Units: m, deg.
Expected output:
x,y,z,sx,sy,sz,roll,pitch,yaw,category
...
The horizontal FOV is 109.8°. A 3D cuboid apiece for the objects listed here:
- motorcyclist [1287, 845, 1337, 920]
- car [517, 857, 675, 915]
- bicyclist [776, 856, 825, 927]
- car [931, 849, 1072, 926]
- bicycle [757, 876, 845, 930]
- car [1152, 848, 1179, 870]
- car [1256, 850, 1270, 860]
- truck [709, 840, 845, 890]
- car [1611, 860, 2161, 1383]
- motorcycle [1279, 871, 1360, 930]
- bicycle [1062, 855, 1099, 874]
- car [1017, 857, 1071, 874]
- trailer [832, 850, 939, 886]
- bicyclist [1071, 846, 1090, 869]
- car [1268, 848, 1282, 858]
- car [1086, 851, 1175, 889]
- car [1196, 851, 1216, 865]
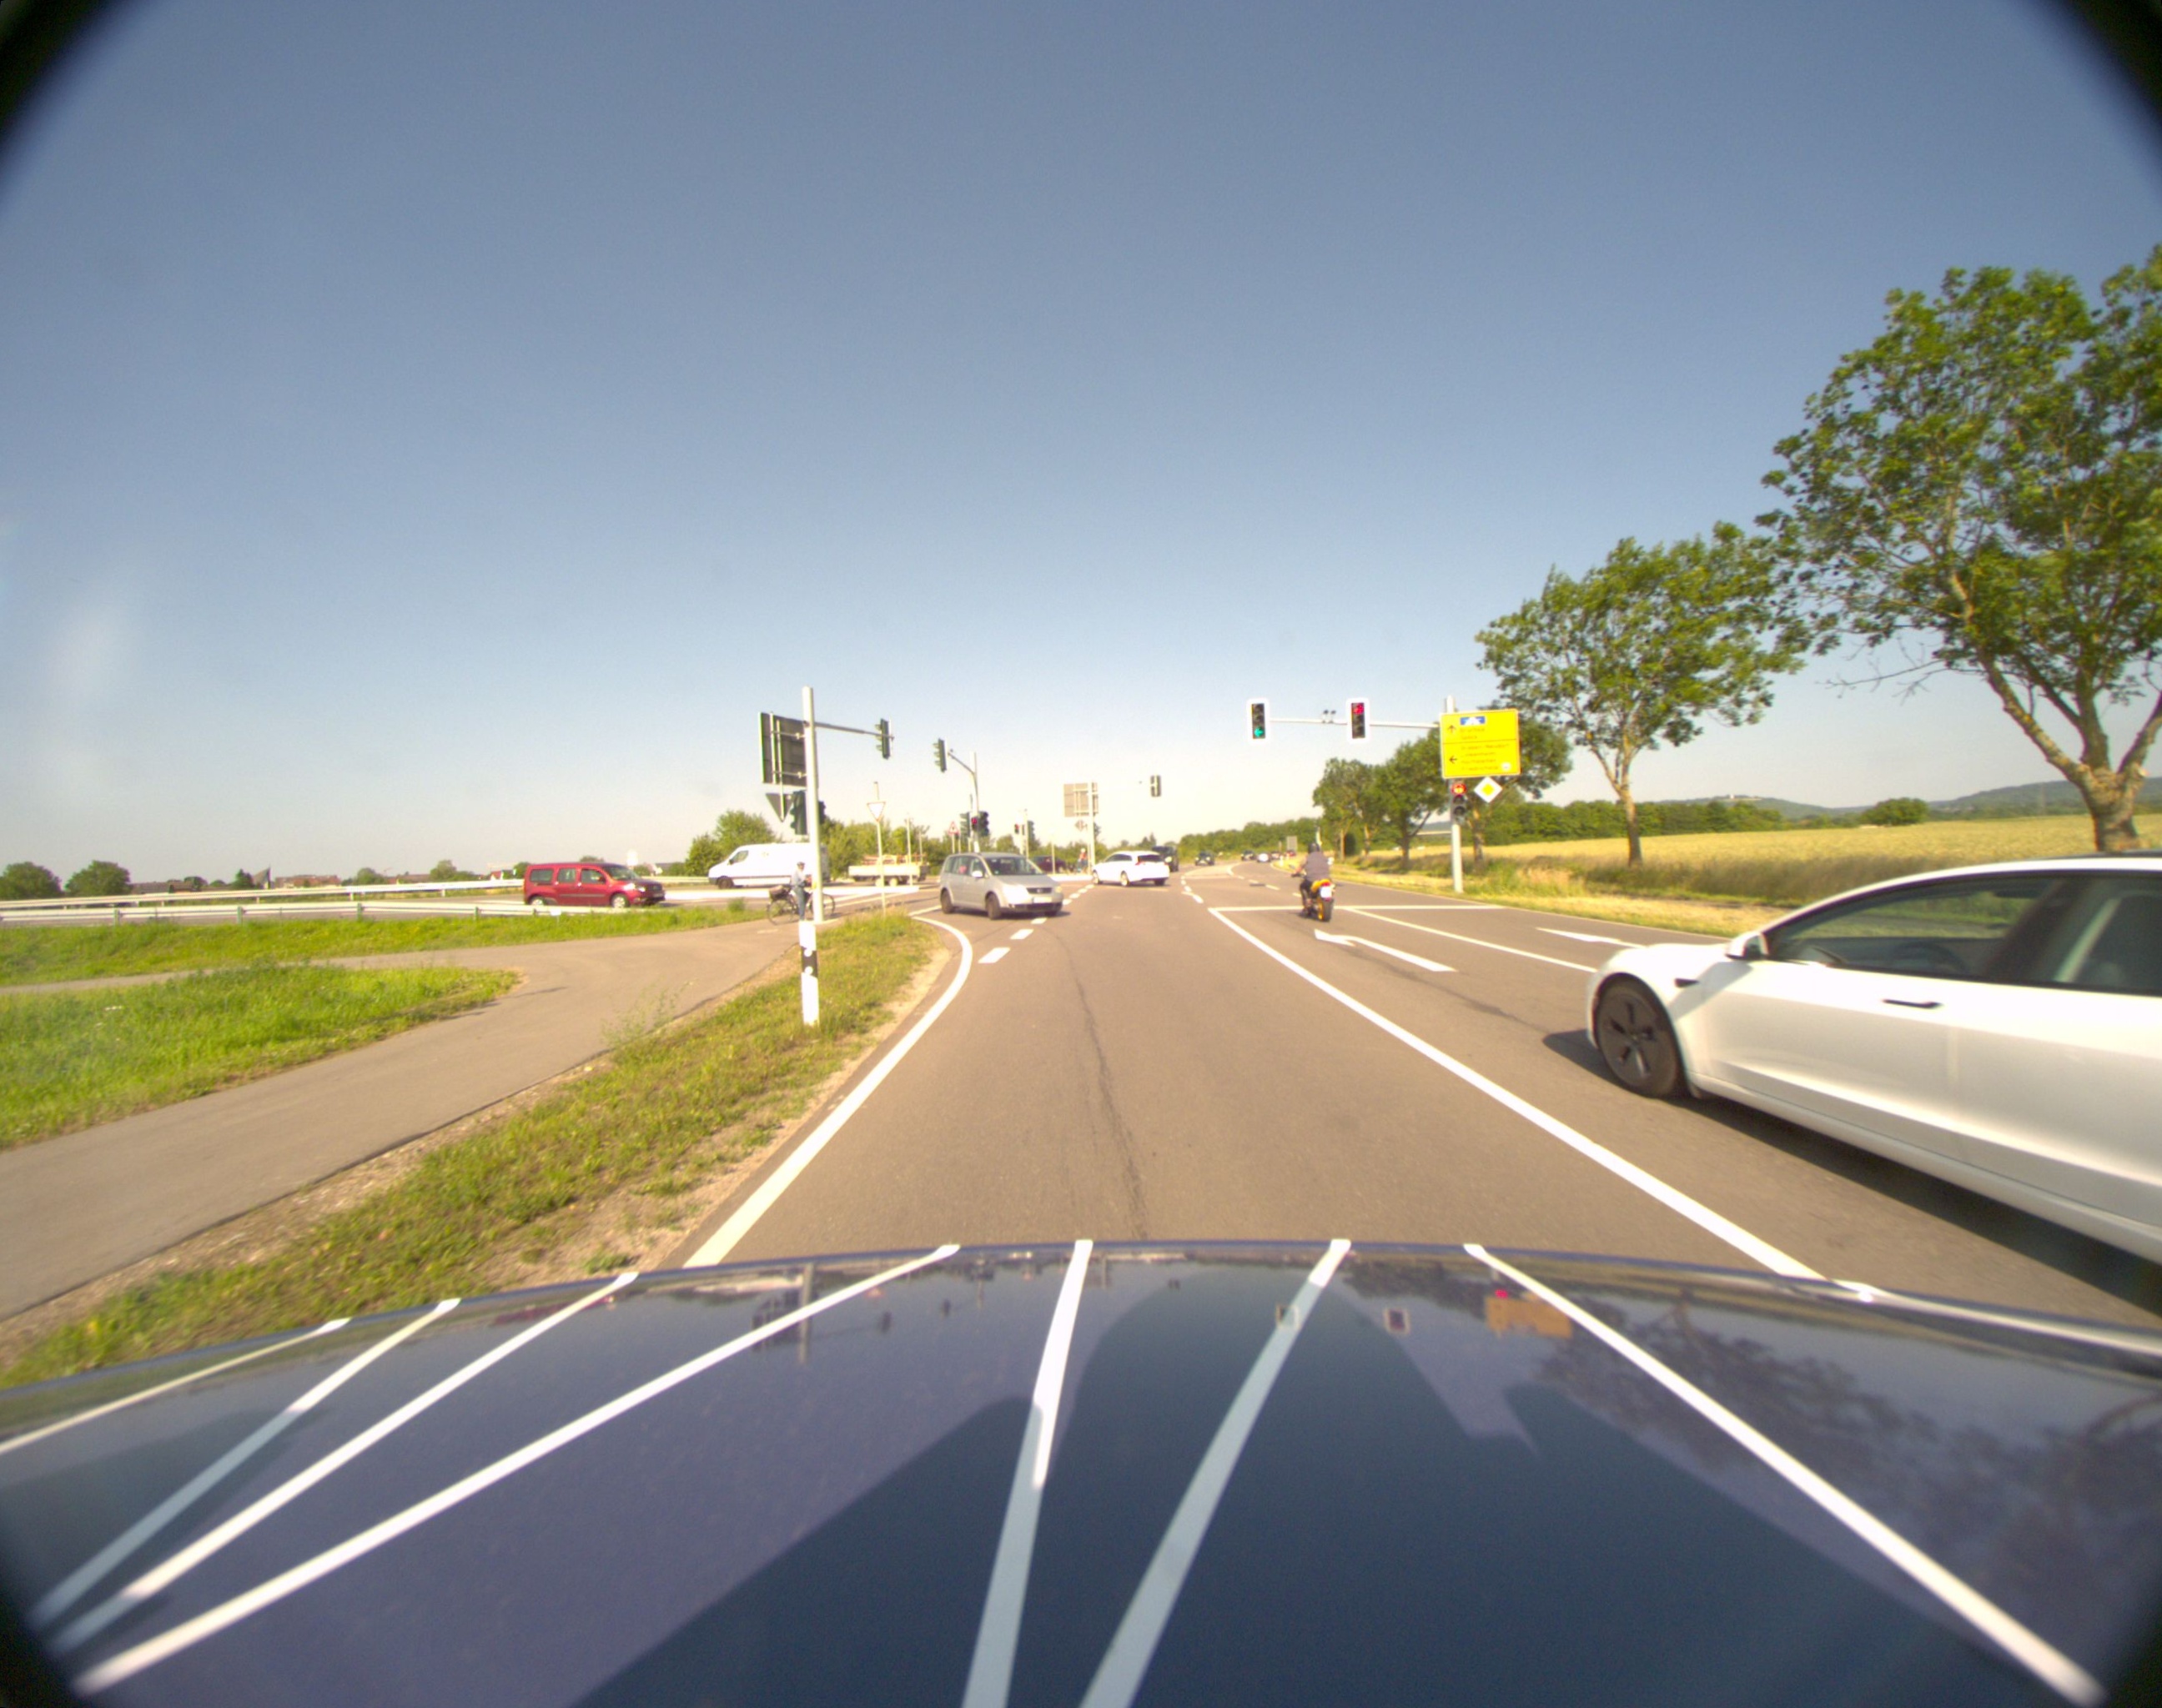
x,y,z,sx,sy,sz,roll,pitch,yaw,category
4.826,0.571,15.945,0.680,1.506,1.181,-2,0,1,motorcyclist
-17.596,1.145,27.673,4.693,1.826,1.694,-2,1,5,car
-7.376,0.972,20.006,0.919,1.756,0.618,-7,5,-40,bicyclist
-2.156,0.790,19.434,1.759,1.685,4.204,-2,0,-34,car
-7.349,1.273,20.007,1.948,1.145,0.679,-7,5,-40,bicycle
6.417,0.362,57.183,1.860,1.533,4.002,-2,0,8,car
25.050,0.137,104.565,1.631,1.369,4.426,0,0,11,car
-15.743,0.539,39.625,6.196,2.391,2.070,-1,1,-4,truck
4.093,0.798,2.416,1.894,1.458,4.275,-1,1,1,car
4.900,0.923,15.813,0.899,1.037,2.428,-2,0,0,motorcycle
-0.038,0.644,47.012,2.148,1.143,1.074,-1,1,7,bicycle
-2.637,0.812,54.628,1.735,1.106,4.008,-1,0,36,car
-10.135,0.732,39.645,5.006,1.728,1.981,-1,1,5,trailer
-0.027,0.219,46.956,1.072,1.344,0.859,-1,2,7,bicyclist
32.123,-0.203,125.863,1.886,1.616,4.006,0,1,20,car
2.039,0.642,33.050,1.767,1.483,4.698,-2,0,-26,car
14.098,0.412,85.510,1.859,1.533,4.004,-2,0,15,car
